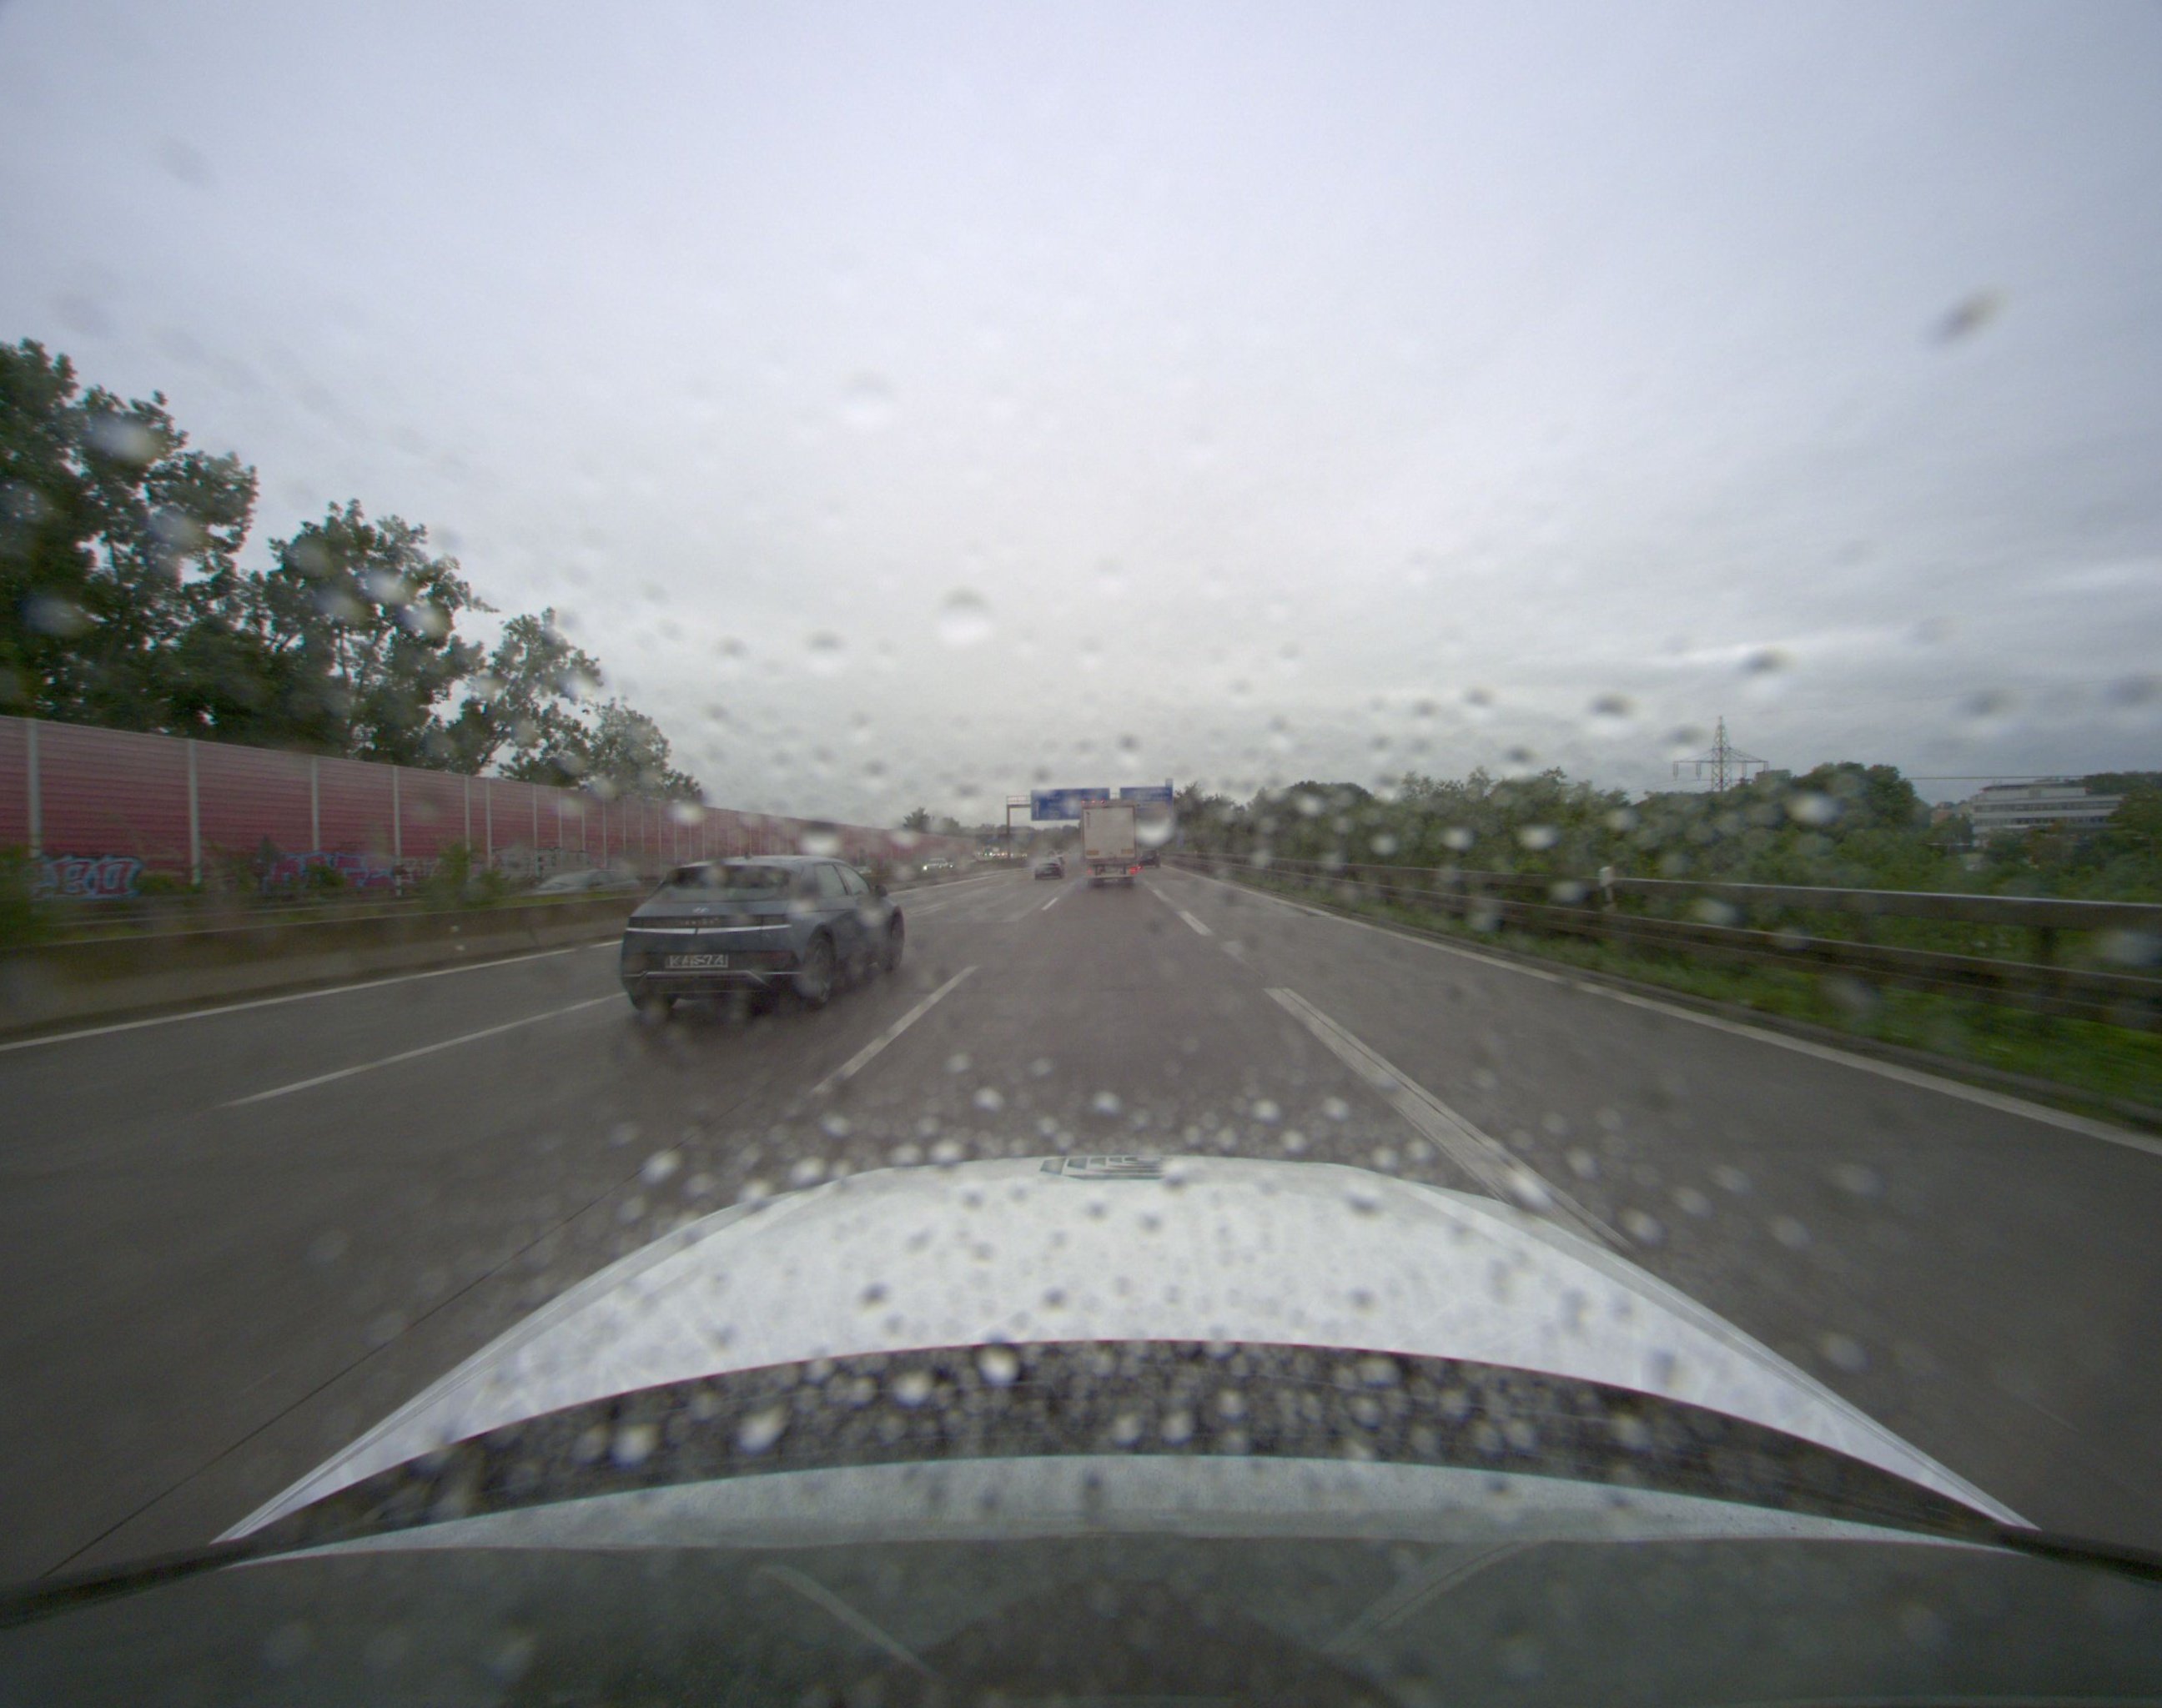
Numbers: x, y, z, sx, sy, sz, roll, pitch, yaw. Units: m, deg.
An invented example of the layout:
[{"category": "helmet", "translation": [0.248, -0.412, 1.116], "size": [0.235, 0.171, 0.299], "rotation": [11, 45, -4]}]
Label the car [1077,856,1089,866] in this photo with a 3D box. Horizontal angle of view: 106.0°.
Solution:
[{"category": "car", "translation": [0.292, 1.159, 140.293], "size": [1.886, 1.723, 4.002], "rotation": [-1, 0, 2]}]

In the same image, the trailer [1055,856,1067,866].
[{"category": "trailer", "translation": [-3.414, 1.170, 142.589], "size": [1.808, 1.624, 4.571], "rotation": [0, 0, 2]}]

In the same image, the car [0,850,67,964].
[{"category": "car", "translation": [-18.574, 0.872, 11.334], "size": [1.987, 1.859, 5.540], "rotation": [0, 0, -1]}]

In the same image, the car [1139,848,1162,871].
[{"category": "car", "translation": [6.124, 0.462, 72.286], "size": [1.889, 1.949, 4.004], "rotation": [1, 0, 4]}]

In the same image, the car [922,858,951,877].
[{"category": "car", "translation": [-16.141, 1.466, 91.301], "size": [1.986, 2.013, 5.809], "rotation": [1, 0, 2]}]

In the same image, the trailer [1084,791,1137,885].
[{"category": "trailer", "translation": [1.634, -0.802, 43.714], "size": [2.333, 4.157, 14.837], "rotation": [0, 1, 2]}]

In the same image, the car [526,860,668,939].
[{"category": "car", "translation": [-14.326, 1.276, 24.371], "size": [1.858, 2.013, 3.653], "rotation": [4, 0, 2]}]

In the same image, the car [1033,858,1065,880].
[{"category": "car", "translation": [-2.076, 0.962, 54.411], "size": [1.718, 1.403, 4.831], "rotation": [0, 0, 2]}]

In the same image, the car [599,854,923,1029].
[{"category": "car", "translation": [-3.458, 0.823, 10.093], "size": [1.832, 1.594, 5.158], "rotation": [-1, 0, 2]}]

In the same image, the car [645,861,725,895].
[{"category": "car", "translation": [-21.512, 1.282, 44.487], "size": [1.986, 1.648, 4.540], "rotation": [-2, 0, 2]}]
